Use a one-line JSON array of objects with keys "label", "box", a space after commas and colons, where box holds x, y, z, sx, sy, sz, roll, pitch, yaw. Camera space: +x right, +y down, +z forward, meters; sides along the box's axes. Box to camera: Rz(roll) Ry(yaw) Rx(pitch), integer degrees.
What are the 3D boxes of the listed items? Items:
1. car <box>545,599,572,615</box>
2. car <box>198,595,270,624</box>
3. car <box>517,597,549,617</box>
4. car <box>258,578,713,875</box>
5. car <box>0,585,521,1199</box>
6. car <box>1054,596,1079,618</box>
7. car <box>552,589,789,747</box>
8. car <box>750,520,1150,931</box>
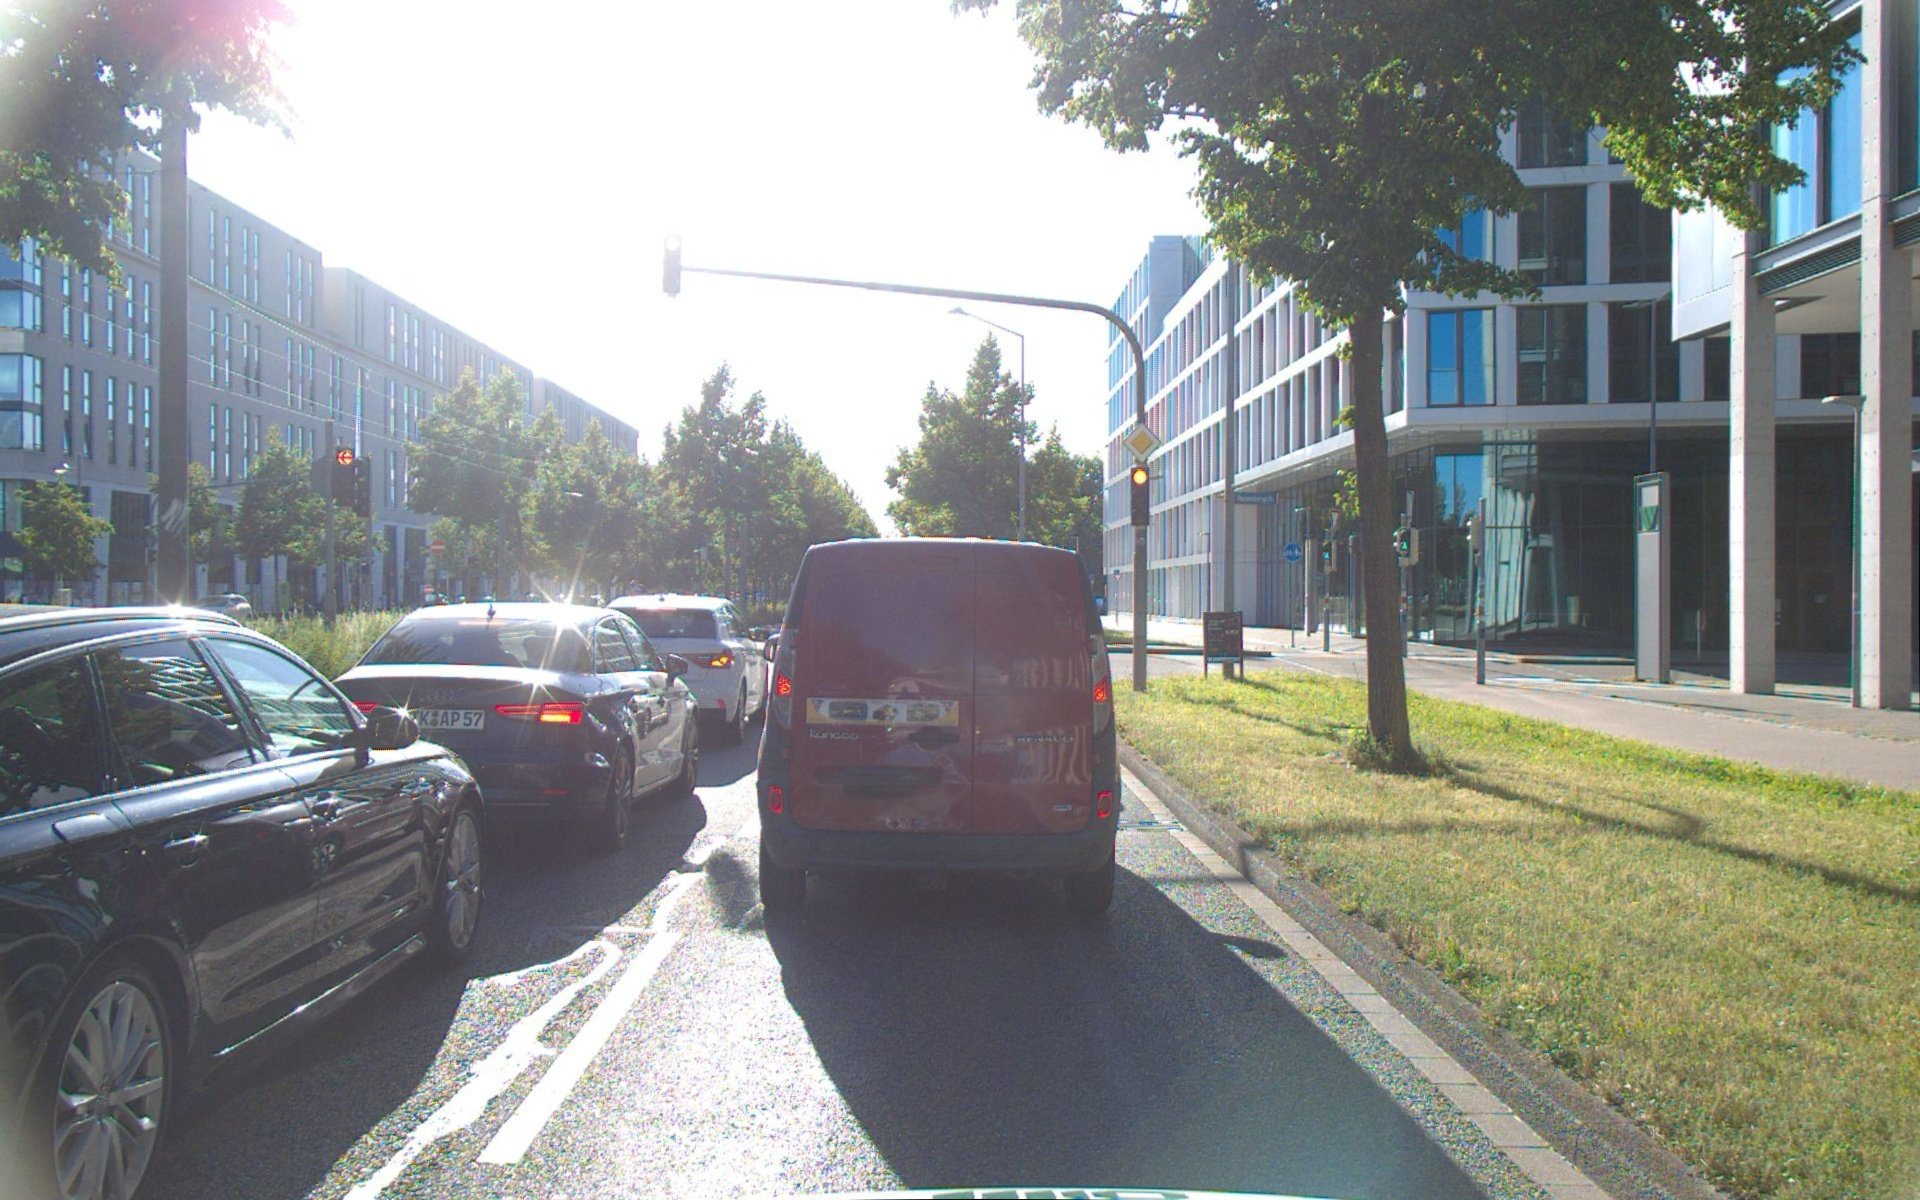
[{"label": "car", "box": [-36.081, 0.620, 148.761, 1.548, 1.366, 3.711, 0, 0, -1]}, {"label": "car", "box": [-34.604, 0.440, 78.989, 1.548, 1.366, 4.470, 0, 0, -1]}, {"label": "car", "box": [-35.133, 0.572, 136.260, 1.740, 1.555, 3.805, 0, 0, -1]}, {"label": "car", "box": [-2.793, 0.656, 10.731, 1.771, 1.554, 4.113, 0, 0, 0]}, {"label": "car", "box": [-2.735, 0.701, 4.832, 1.771, 1.482, 4.507, 0, 0, -1]}, {"label": "car", "box": [8.211, 0.527, 127.978, 1.722, 1.640, 3.903, 0, 0, 0]}, {"label": "car", "box": [-2.908, 0.624, 17.445, 1.771, 1.460, 4.113, 0, 0, 0]}, {"label": "car", "box": [-0.046, 0.548, 9.405, 1.771, 1.825, 4.113, 0, 0, 0]}]
